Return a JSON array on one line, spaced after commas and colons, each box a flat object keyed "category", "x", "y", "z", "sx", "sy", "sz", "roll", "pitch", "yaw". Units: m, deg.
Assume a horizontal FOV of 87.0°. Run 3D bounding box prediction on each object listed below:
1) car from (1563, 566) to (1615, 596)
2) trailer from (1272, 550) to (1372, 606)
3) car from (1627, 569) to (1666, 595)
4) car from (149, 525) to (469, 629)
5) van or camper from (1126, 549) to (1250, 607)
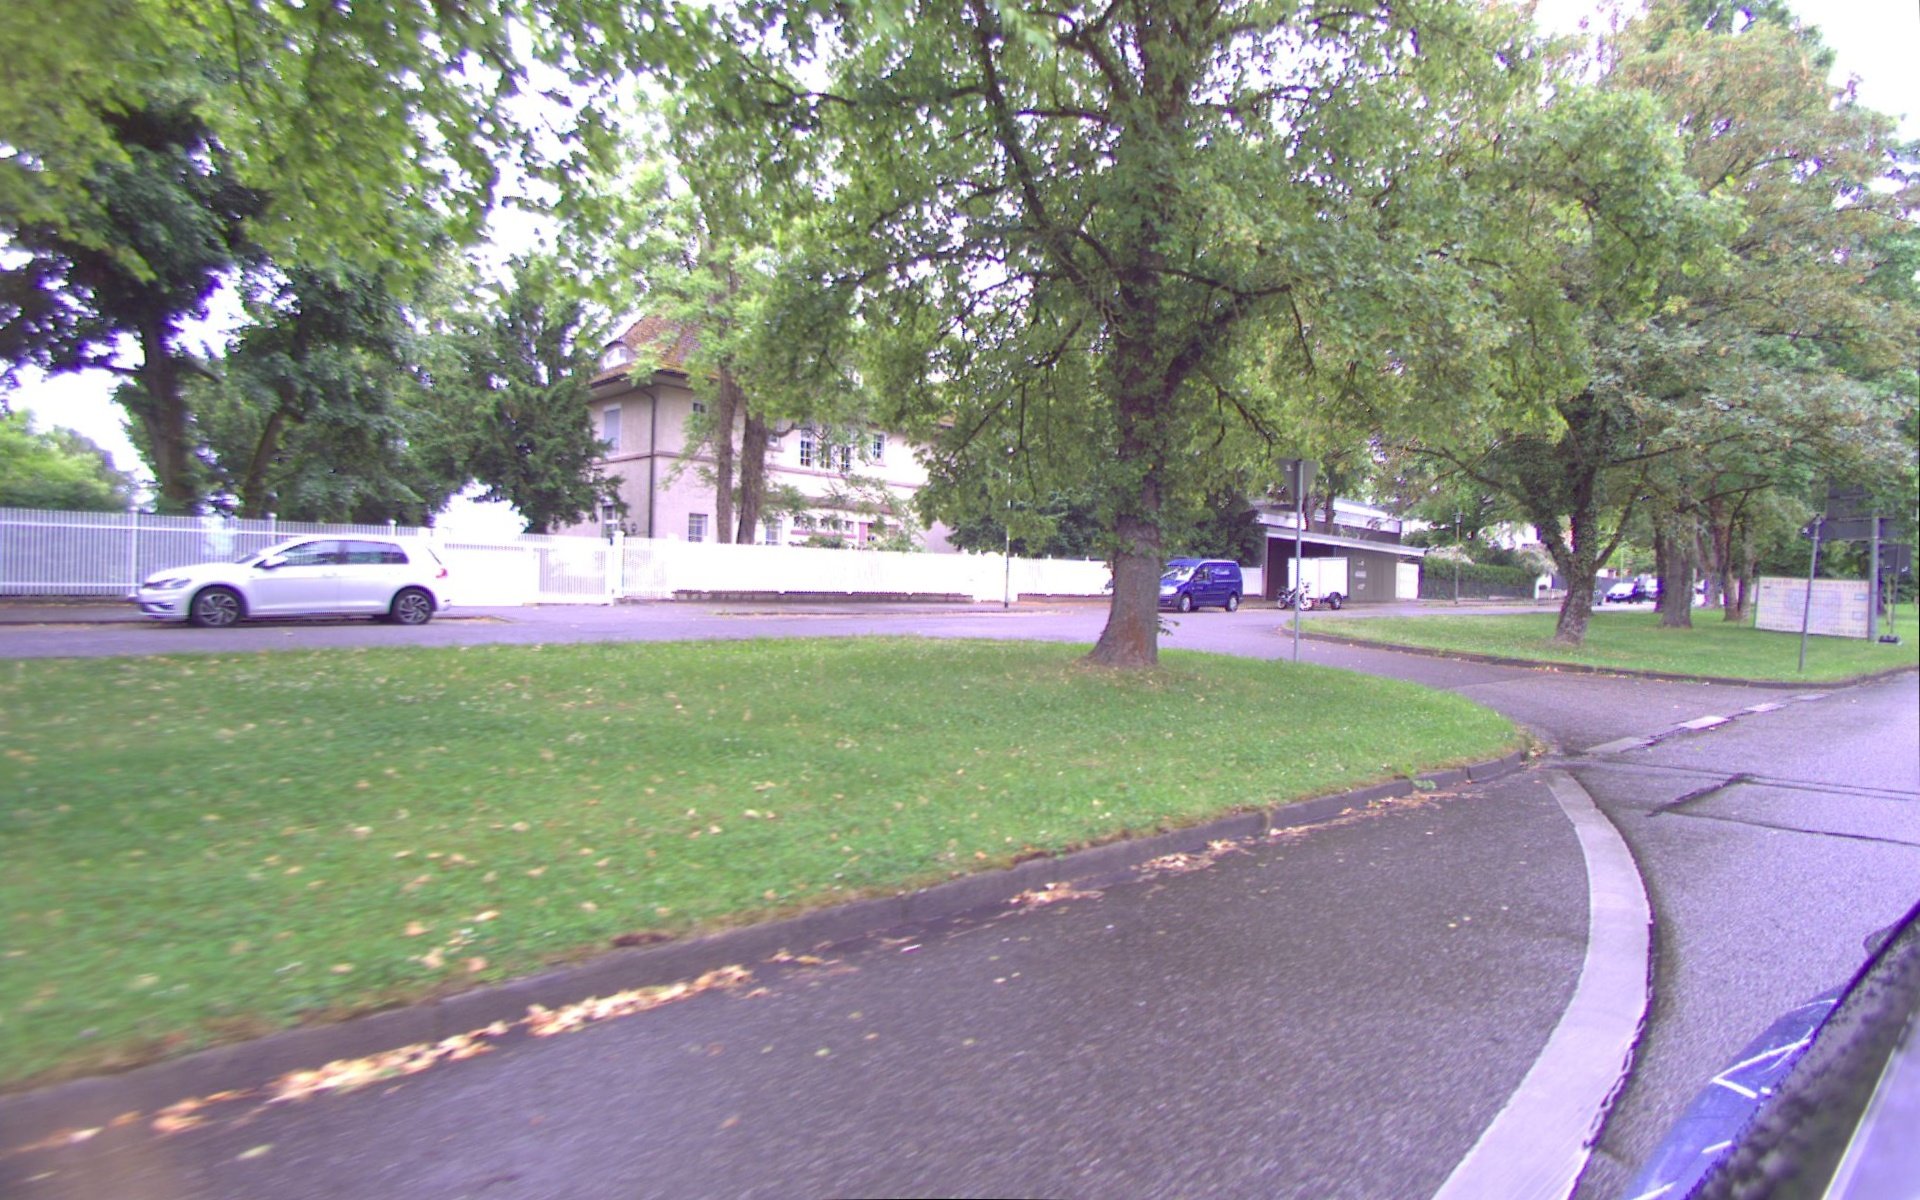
[{"category": "car", "x": 43.754, "y": -1.319, "z": 70.325, "sx": 3.931, "sy": 2.038, "sz": 1.997, "roll": 0, "pitch": 3, "yaw": -42}, {"category": "trailer", "x": 14.708, "y": -0.852, "z": 40.955, "sx": 5.107, "sy": 2.143, "sz": 1.768, "roll": -1, "pitch": 0, "yaw": -44}, {"category": "car", "x": 59.991, "y": -1.566, "z": 88.400, "sx": 3.932, "sy": 2.039, "sz": 1.996, "roll": 3, "pitch": 1, "yaw": -44}, {"category": "car", "x": -10.410, "y": -0.346, "z": 16.357, "sx": 4.058, "sy": 1.467, "sz": 1.994, "roll": -1, "pitch": 0, "yaw": -45}, {"category": "van or camper", "x": 7.807, "y": -0.712, "z": 34.402, "sx": 1.993, "sy": 1.831, "sz": 4.700, "roll": 0, "pitch": 0, "yaw": 44}]
